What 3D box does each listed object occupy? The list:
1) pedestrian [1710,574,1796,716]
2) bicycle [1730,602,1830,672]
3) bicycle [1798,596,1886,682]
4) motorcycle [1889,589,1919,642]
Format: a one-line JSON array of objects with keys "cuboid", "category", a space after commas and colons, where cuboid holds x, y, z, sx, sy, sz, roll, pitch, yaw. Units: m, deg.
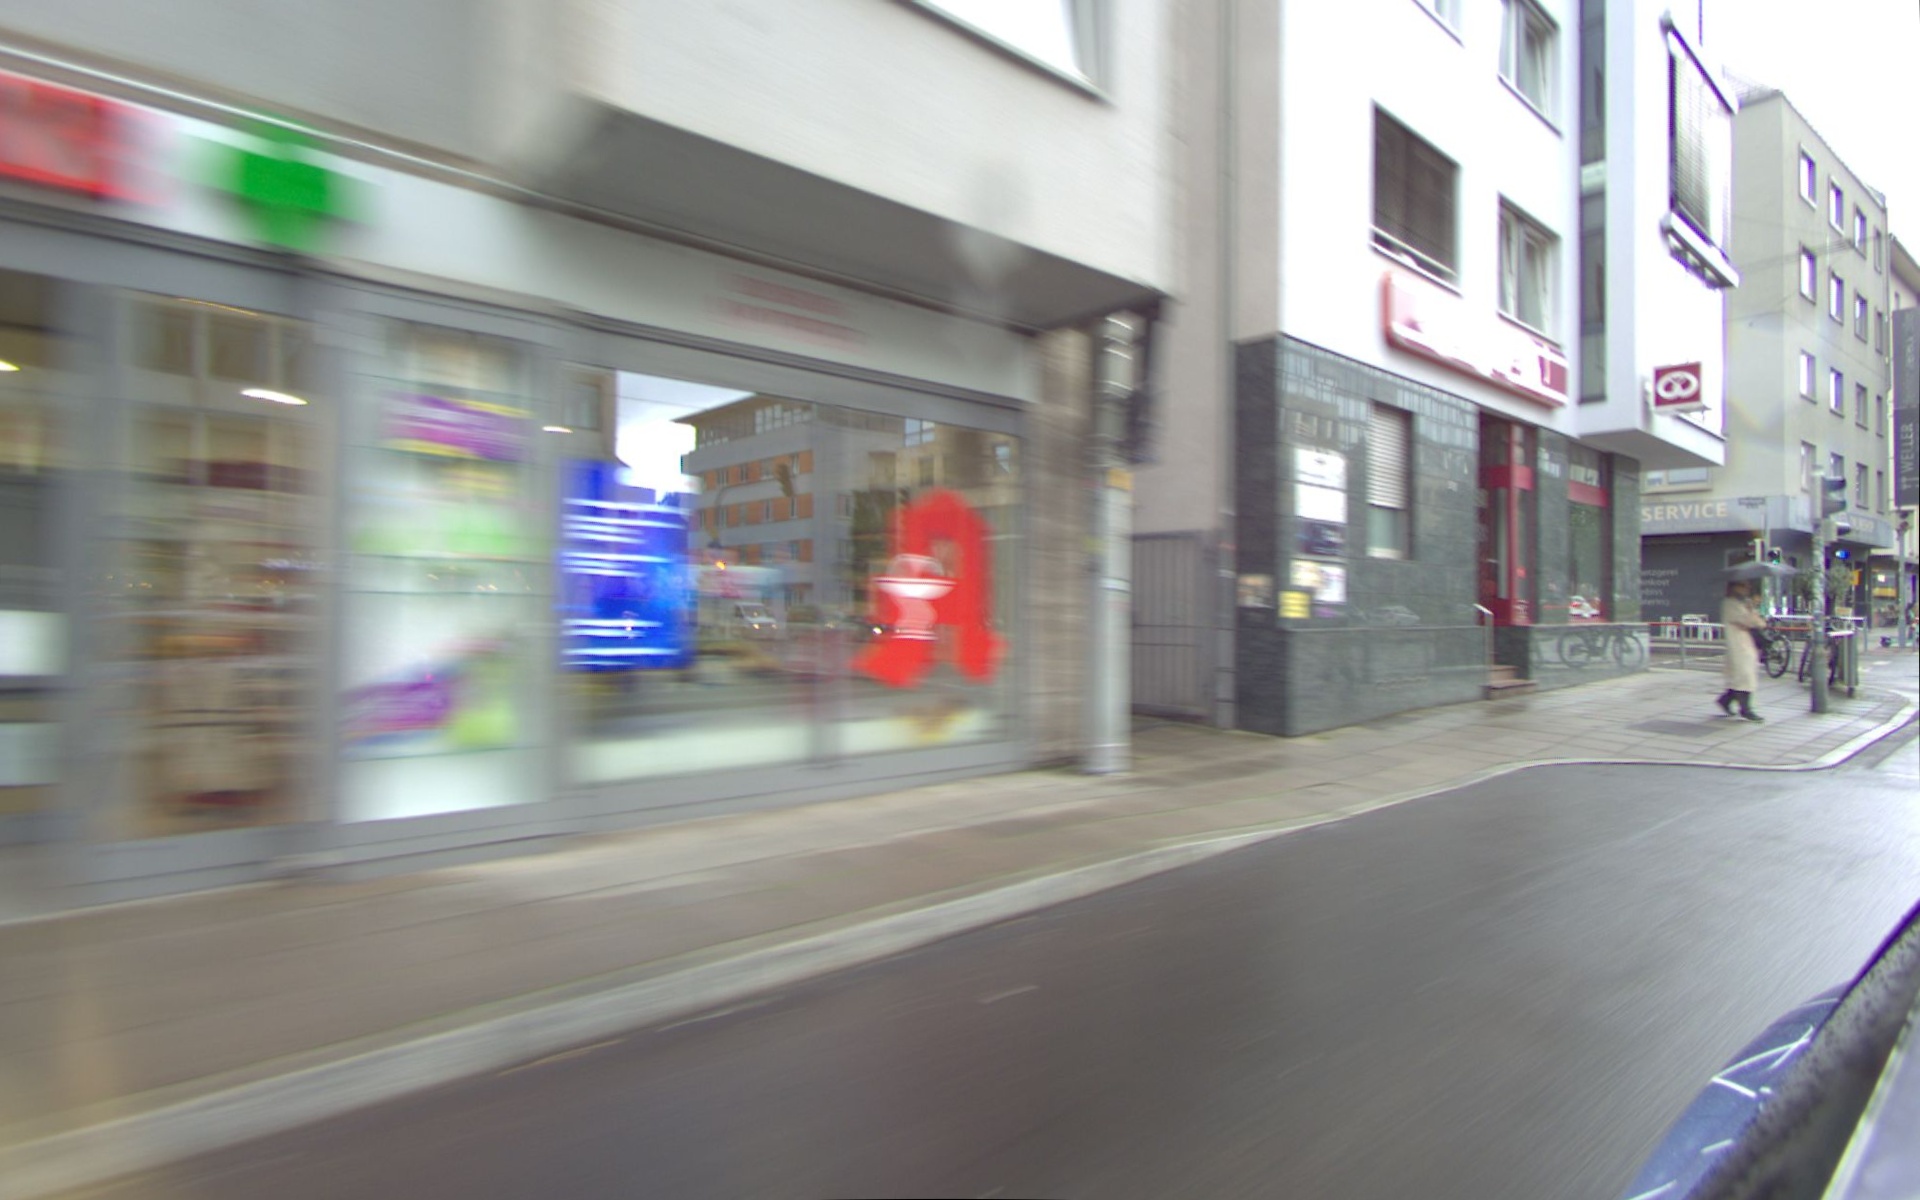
[{"cuboid": [9.285, 0.496, 11.881, 0.655, 1.602, 0.772, 0, 0, 28], "category": "pedestrian"}, {"cuboid": [14.715, 0.627, 18.224, 0.569, 1.172, 1.949, -1, 0, 13], "category": "bicycle"}, {"cuboid": [14.028, 0.580, 16.152, 0.493, 1.275, 1.940, -1, 0, 24], "category": "bicycle"}, {"cuboid": [27.254, 0.429, 28.728, 1.115, 1.479, 0.681, 0, 0, 14], "category": "motorcycle"}]
